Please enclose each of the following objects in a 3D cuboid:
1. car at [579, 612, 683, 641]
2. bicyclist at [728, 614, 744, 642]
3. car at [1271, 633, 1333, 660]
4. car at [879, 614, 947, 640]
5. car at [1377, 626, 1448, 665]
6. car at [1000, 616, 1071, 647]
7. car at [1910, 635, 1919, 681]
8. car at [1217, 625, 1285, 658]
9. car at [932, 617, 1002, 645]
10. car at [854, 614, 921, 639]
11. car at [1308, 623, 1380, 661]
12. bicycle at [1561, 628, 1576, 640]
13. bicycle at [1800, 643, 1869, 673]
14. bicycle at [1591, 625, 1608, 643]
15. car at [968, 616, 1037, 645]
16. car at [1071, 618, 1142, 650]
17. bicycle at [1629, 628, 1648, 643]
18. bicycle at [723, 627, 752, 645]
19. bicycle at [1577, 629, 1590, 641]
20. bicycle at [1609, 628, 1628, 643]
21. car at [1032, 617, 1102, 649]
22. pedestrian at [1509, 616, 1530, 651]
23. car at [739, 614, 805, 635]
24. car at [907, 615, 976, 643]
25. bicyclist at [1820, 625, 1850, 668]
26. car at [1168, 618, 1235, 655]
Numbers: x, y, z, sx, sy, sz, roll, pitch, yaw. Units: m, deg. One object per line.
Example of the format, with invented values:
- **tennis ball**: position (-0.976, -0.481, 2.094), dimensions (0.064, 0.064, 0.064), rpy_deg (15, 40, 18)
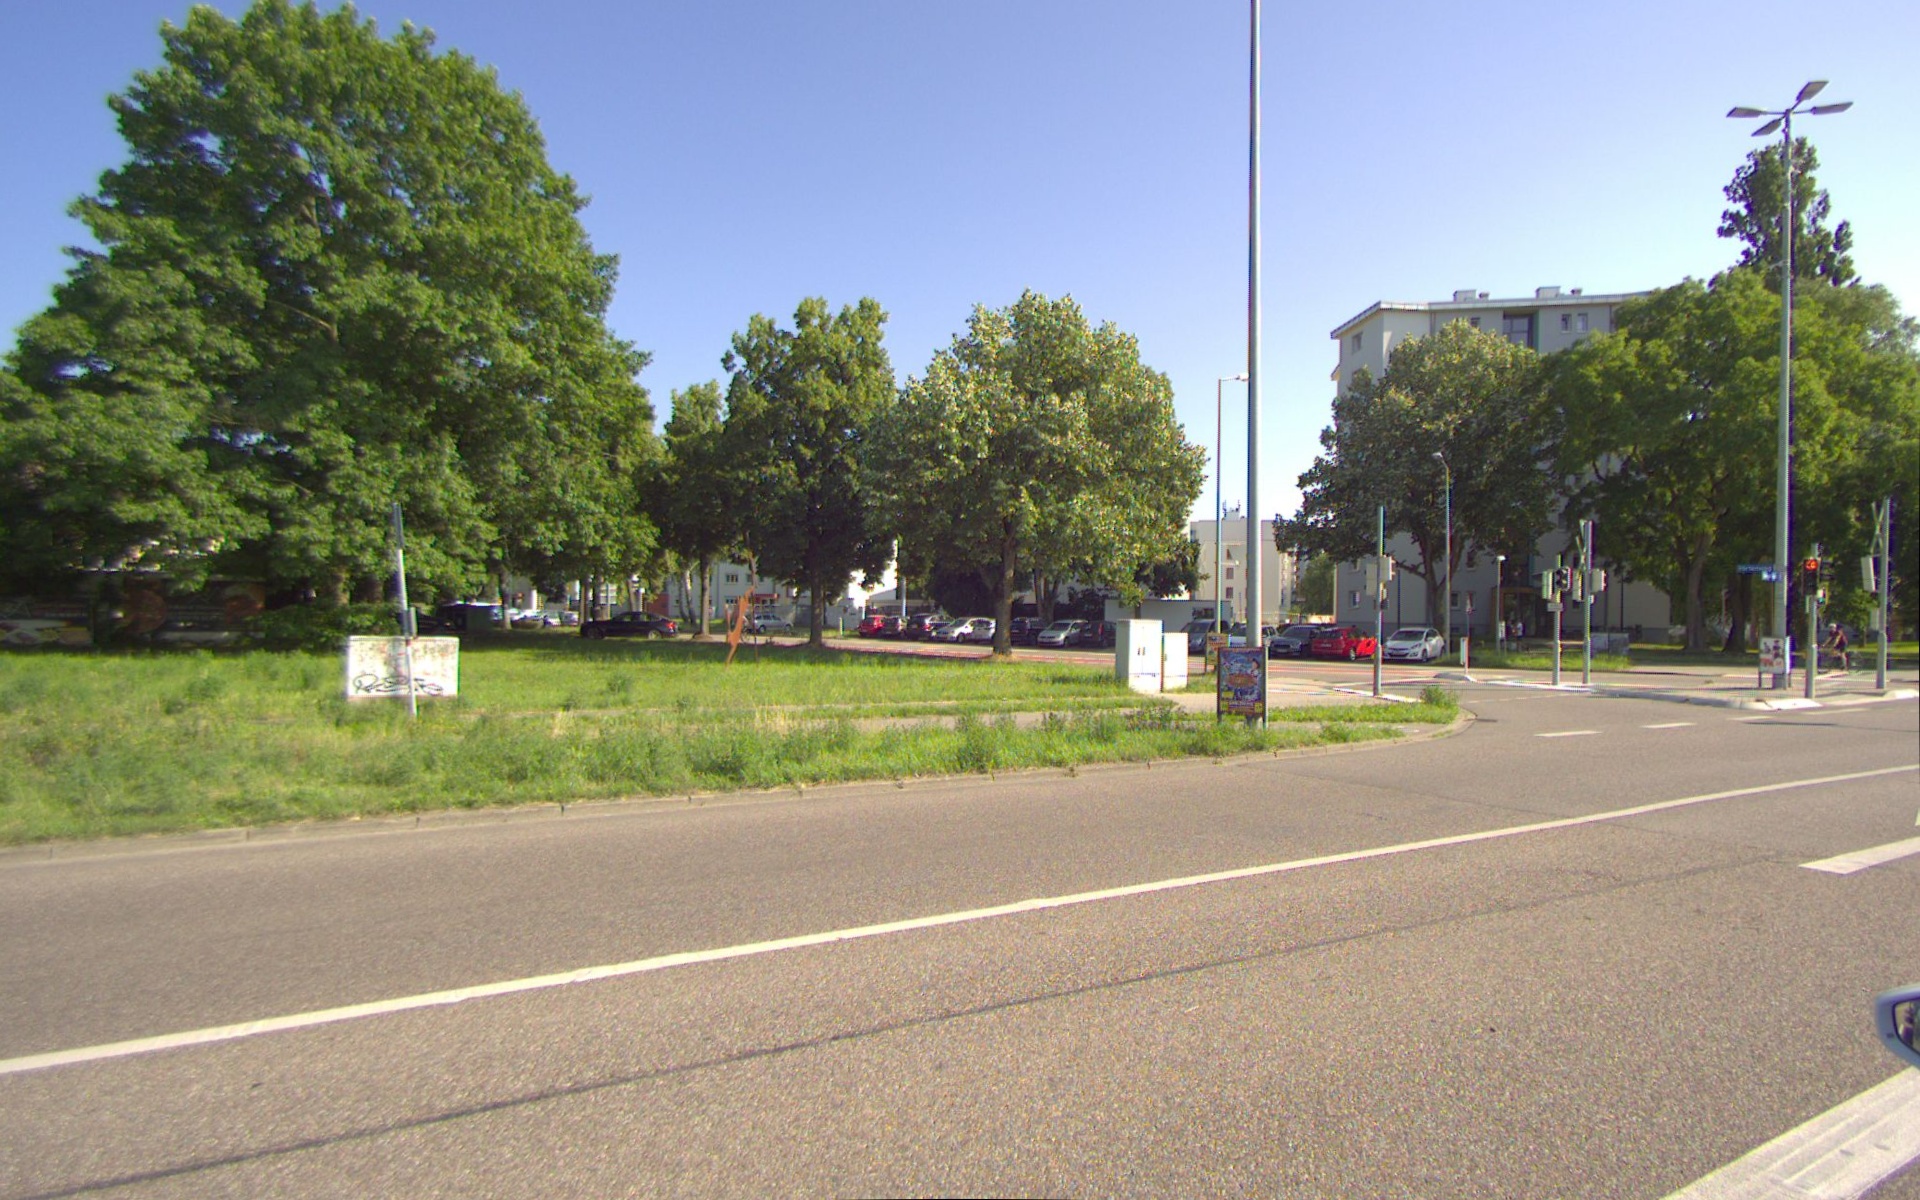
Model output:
- **car**: position (-16.310, 1.322, 49.897), dimensions (4.682, 1.338, 1.524), rpy_deg (1, -1, -8)
- **bicyclist**: position (-12.455, 1.562, 55.753), dimensions (0.618, 1.544, 0.615), rpy_deg (1, 1, 40)
- **car**: position (16.580, 2.249, 48.637), dimensions (1.445, 1.209, 3.765), rpy_deg (0, -1, 43)
- **car**: position (-3.099, 1.778, 66.838), dimensions (1.758, 1.497, 4.791), rpy_deg (0, 2, 39)
- **car**: position (20.409, 2.006, 45.258), dimensions (1.760, 1.459, 3.977), rpy_deg (0, 2, 43)
- **car**: position (4.553, 1.828, 59.843), dimensions (1.758, 1.497, 4.791), rpy_deg (0, 3, 39)
- **car**: position (32.127, 1.843, 30.830), dimensions (4.159, 1.433, 1.786), rpy_deg (1, -1, 3)
- **car**: position (14.645, 2.063, 50.523), dimensions (1.759, 1.541, 3.979), rpy_deg (0, -1, 41)
- **car**: position (0.454, 1.889, 62.661), dimensions (1.758, 1.497, 4.791), rpy_deg (0, 2, 39)
- **car**: position (-4.862, 1.769, 68.305), dimensions (1.758, 1.497, 4.791), rpy_deg (0, 2, 39)
- **car**: position (18.119, 1.954, 47.332), dimensions (1.761, 1.435, 3.975), rpy_deg (0, 3, 44)
- **bicycle**: position (39.308, 2.192, 64.898), dimensions (0.574, 0.718, 2.236), rpy_deg (1, 0, 26)
- **bicycle**: position (32.522, 2.160, 37.363), dimensions (2.031, 1.054, 0.621), rpy_deg (1, 0, -2)
- **bicycle**: position (40.661, 2.176, 63.878), dimensions (0.601, 1.080, 1.916), rpy_deg (2, -2, 24)
- **car**: position (2.652, 1.847, 61.419), dimensions (1.758, 1.497, 4.755), rpy_deg (0, 2, 39)
- **car**: position (8.367, 1.898, 57.113), dimensions (1.758, 1.497, 4.791), rpy_deg (0, 2, 39)
- **bicycle**: position (42.620, 2.227, 63.125), dimensions (0.658, 0.932, 2.404), rpy_deg (1, -1, 26)
- **bicycle**: position (-12.380, 2.004, 55.805), dimensions (1.784, 0.915, 0.650), rpy_deg (1, 0, 43)
- **bicycle**: position (39.999, 2.208, 64.449), dimensions (0.497, 0.718, 2.114), rpy_deg (1, 0, 26)
- **bicycle**: position (41.670, 2.217, 63.599), dimensions (0.663, 0.887, 2.483), rpy_deg (1, -1, 26)
- **car**: position (6.211, 1.870, 57.767), dimensions (1.758, 1.497, 4.692), rpy_deg (0, 3, 39)
- **pedestrian**: position (28.091, 1.663, 50.420), dimensions (0.693, 1.736, 0.623), rpy_deg (1, 0, -18)
- **car**: position (-14.255, 1.869, 76.277), dimensions (1.760, 1.497, 4.786), rpy_deg (0, -1, 43)
- **car**: position (-1.118, 1.838, 64.585), dimensions (1.758, 1.497, 4.791), rpy_deg (0, 2, 39)
- **bicyclist**: position (32.540, 1.730, 37.366), dimensions (0.591, 1.581, 0.609), rpy_deg (1, 0, -2)
- **car**: position (12.623, 1.888, 52.361), dimensions (1.759, 1.835, 3.979), rpy_deg (0, -1, 41)
